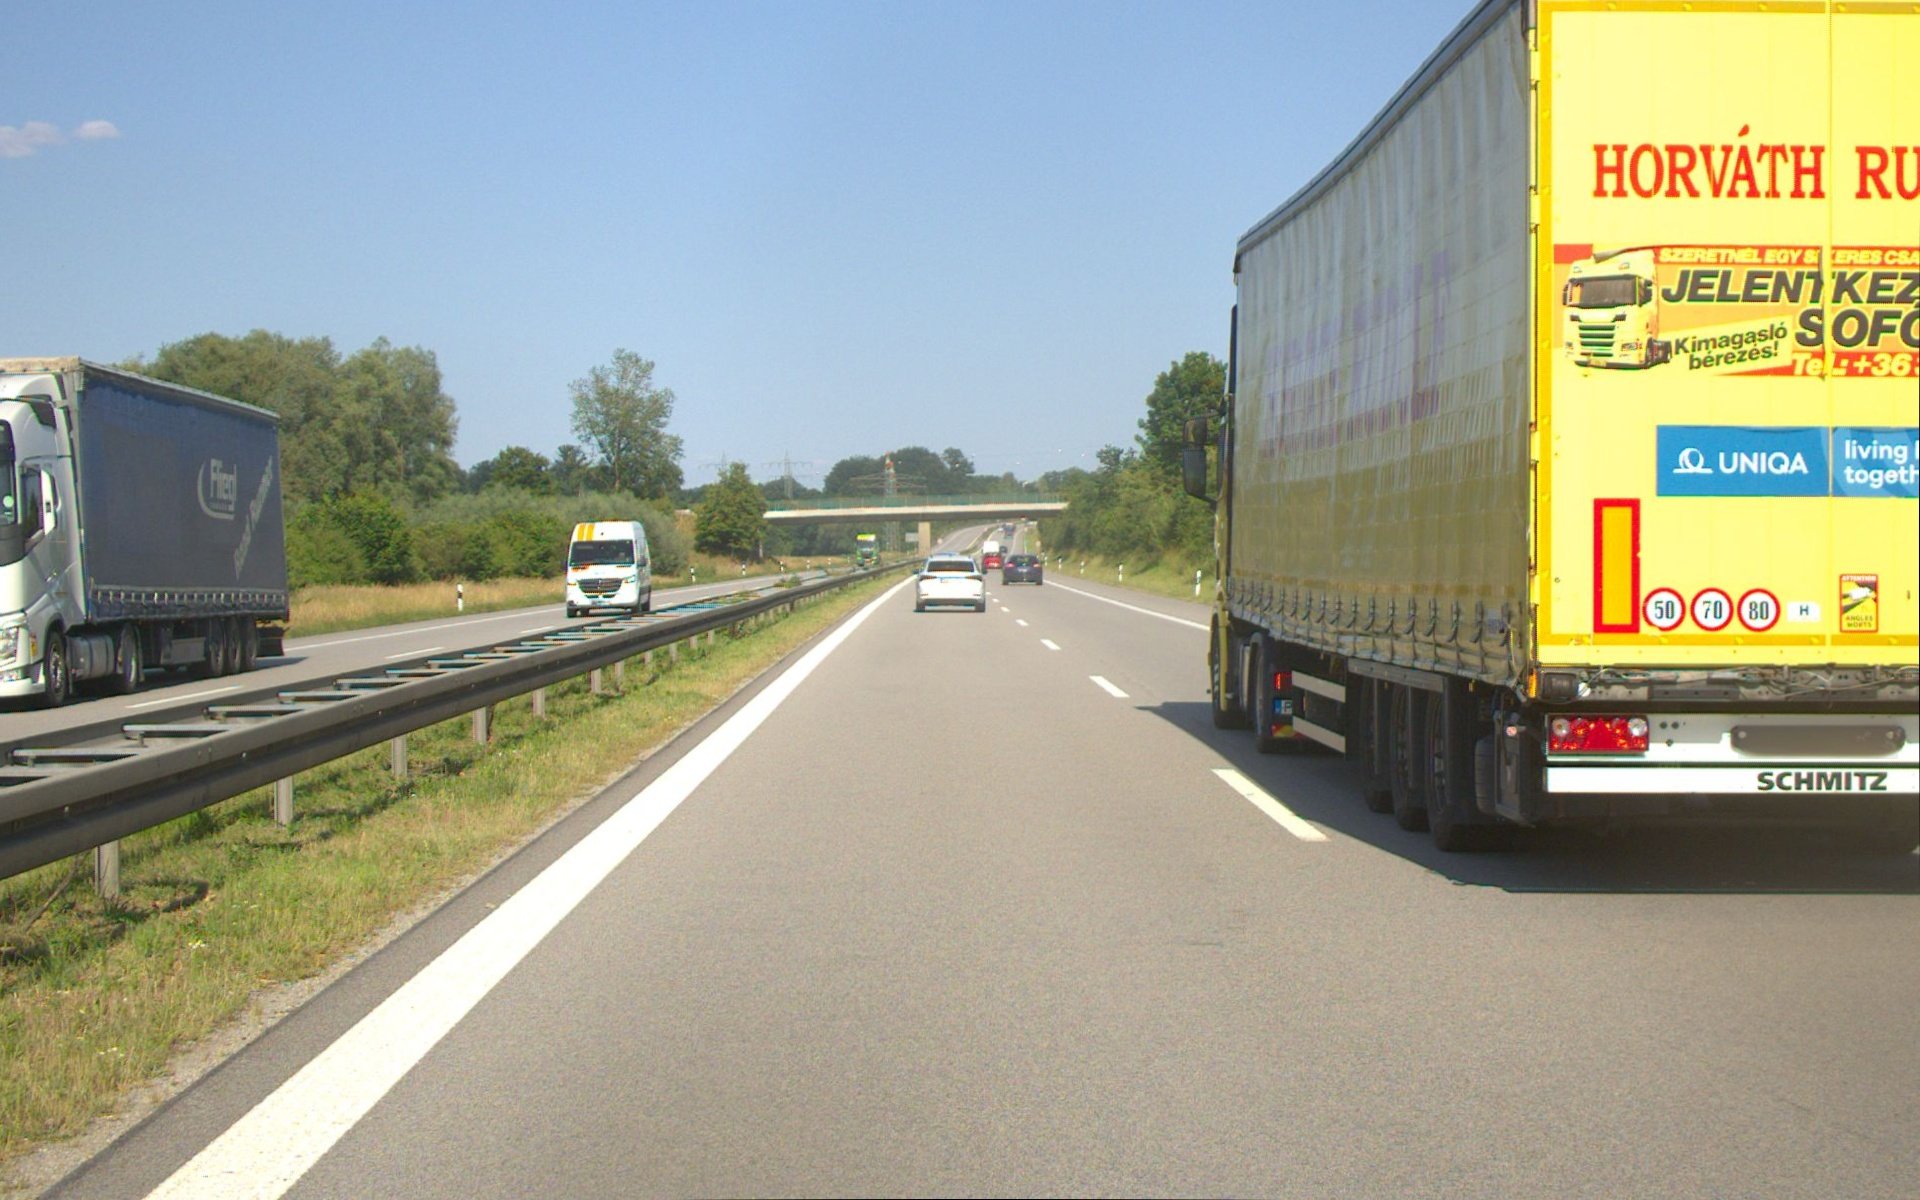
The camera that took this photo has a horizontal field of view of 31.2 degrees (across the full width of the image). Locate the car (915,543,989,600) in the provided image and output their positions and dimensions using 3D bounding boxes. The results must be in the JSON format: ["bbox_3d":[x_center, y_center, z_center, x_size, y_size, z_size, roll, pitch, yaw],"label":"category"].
[{"bbox_3d":[-0.189,-0.746,88.183,1.843,1.411,4.000,1,1,0],"label":"car"}]

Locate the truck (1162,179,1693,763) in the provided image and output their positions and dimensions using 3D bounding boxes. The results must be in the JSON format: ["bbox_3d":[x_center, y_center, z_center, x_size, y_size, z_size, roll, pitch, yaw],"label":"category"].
[{"bbox_3d":[3.515,-0.952,27.643,3.168,4.100,6.389,1,1,-2],"label":"truck"}]

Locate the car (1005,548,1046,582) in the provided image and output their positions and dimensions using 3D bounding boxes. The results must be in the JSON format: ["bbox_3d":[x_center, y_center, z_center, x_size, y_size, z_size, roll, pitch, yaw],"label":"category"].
[{"bbox_3d":[3.044,-1.636,160.735,1.843,1.515,4.000,1,1,0],"label":"car"}]

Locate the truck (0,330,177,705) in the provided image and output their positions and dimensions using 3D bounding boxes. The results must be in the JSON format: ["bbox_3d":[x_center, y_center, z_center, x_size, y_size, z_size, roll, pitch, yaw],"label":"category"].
[{"bbox_3d":[-11.659,-0.897,40.949,3.168,4.100,6.389,-3,1,-1],"label":"truck"}]

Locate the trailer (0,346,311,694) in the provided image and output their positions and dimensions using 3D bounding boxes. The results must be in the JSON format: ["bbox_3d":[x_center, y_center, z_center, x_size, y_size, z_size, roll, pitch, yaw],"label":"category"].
[{"bbox_3d":[-11.901,-0.989,47.934,3.184,4.045,14.599,-3,1,-2],"label":"trailer"}]

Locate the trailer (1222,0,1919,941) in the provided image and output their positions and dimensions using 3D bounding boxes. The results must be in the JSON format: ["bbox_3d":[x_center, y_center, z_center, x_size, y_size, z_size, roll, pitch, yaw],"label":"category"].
[{"bbox_3d":[3.660,-0.848,19.206,3.184,4.045,13.187,1,1,-1],"label":"trailer"}]

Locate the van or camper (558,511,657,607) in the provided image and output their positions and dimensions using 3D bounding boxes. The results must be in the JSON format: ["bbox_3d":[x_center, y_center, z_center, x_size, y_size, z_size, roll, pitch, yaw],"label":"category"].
[{"bbox_3d":[-9.732,-1.139,95.433,1.993,2.488,7.228,-2,1,-1],"label":"van or camper"}]
